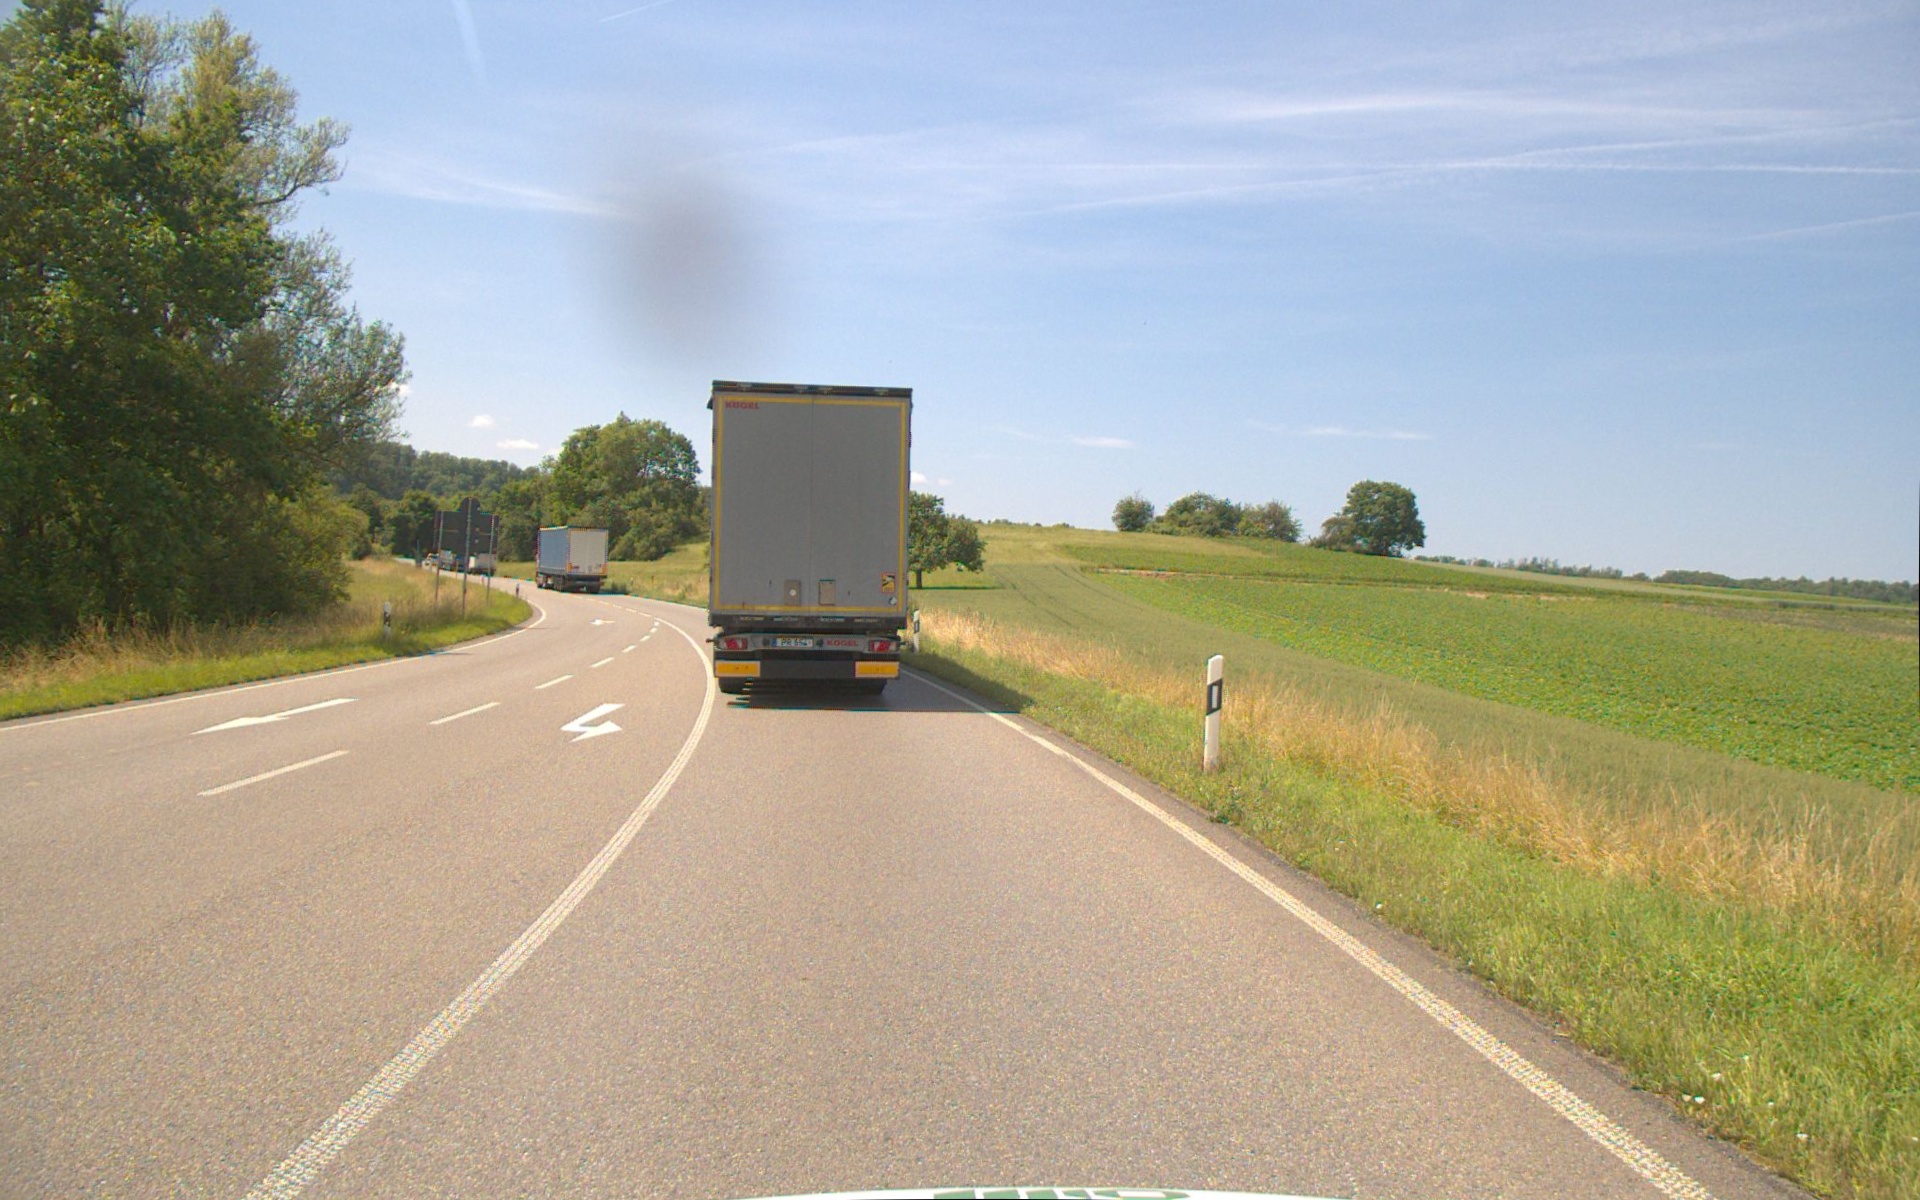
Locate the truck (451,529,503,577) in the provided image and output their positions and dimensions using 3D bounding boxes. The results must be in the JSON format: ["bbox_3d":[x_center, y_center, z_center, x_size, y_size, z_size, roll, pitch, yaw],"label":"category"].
[{"bbox_3d":[-47.962,-4.556,163.880,3.586,4.201,13.013,4,-2,-21],"label":"truck"}]

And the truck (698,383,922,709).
[{"bbox_3d":[-2.485,-0.722,25.324,2.755,4.015,9.574,1,1,-8],"label":"truck"}]

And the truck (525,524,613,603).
[{"bbox_3d":[-25.962,-2.353,109.021,2.921,4.664,16.202,3,0,-23],"label":"truck"}]

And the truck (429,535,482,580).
[{"bbox_3d":[-54.827,-4.511,179.510,3.484,4.314,13.300,4,-2,-25],"label":"truck"}]
